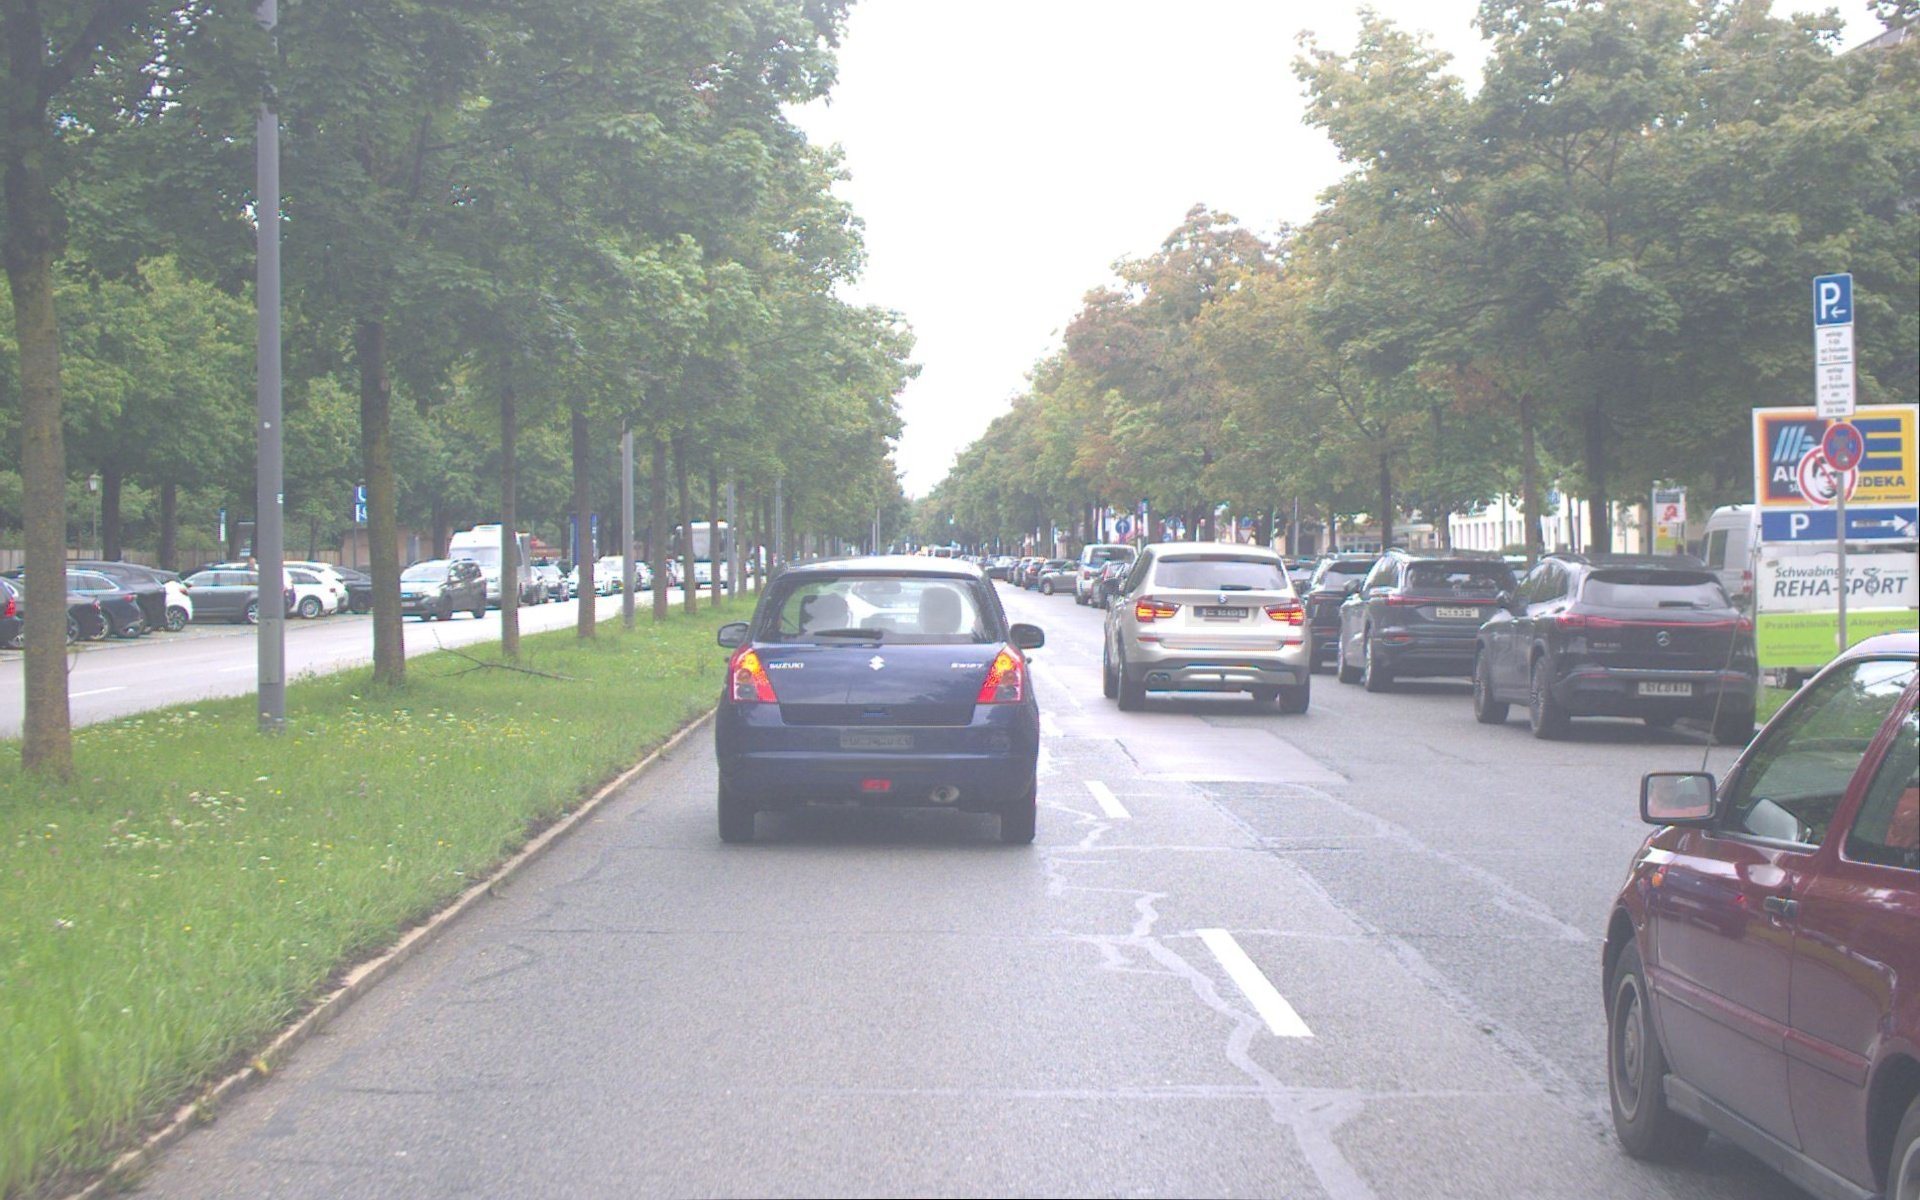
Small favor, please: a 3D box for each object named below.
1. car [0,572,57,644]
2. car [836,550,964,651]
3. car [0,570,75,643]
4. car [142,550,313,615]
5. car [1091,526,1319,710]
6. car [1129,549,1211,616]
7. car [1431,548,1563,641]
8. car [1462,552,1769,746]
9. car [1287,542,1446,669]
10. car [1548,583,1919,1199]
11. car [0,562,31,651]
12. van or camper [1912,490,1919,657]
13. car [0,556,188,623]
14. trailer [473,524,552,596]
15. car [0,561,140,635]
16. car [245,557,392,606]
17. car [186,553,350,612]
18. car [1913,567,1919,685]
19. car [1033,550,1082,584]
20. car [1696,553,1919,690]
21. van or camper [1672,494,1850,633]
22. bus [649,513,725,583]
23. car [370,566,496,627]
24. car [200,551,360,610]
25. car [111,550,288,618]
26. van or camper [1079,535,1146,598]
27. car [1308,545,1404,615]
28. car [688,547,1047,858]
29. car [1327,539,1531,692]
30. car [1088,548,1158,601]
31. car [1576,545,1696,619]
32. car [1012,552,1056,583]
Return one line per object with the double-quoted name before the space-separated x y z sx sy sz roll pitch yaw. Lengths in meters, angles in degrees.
"car" -19.278 0.166 64.380 4.189 1.318 1.919 -1 1 -34
"car" -0.947 -0.022 51.977 1.850 1.442 4.098 0 1 -2
"car" -19.738 0.135 67.495 4.185 1.405 1.919 -1 1 -34
"car" -19.803 -0.496 92.966 4.095 1.689 1.919 -1 1 -34
"car" 2.404 0.139 34.643 1.850 1.737 4.098 0 1 -2
"car" 5.012 -0.450 82.403 1.684 1.520 4.456 1 1 0
"car" 9.461 -0.122 60.822 1.684 1.580 4.009 0 1 0
"car" 5.743 0.375 30.626 1.761 1.584 4.453 0 1 -2
"car" 5.496 0.036 46.887 1.722 1.646 4.389 0 1 1
"car" 2.435 0.709 7.314 1.622 1.449 3.950 0 1 -1
"car" -19.008 0.135 61.652 4.096 1.591 1.919 -1 1 -39
"van or camper" 15.671 -0.365 49.956 1.993 2.549 5.957 0 1 0
"car" -20.355 -0.265 80.328 4.094 1.496 1.919 -1 1 -31
"trailer" -16.088 -1.450 123.771 2.106 2.532 5.577 0 1 0
"car" -19.269 -0.045 71.079 4.095 1.464 1.919 -1 1 -34
"car" -19.721 -0.562 105.744 4.094 1.469 1.705 0 0 -34
"car" -19.458 -0.501 96.676 4.095 1.579 1.919 -1 1 -34
"car" 13.193 0.342 40.204 1.683 1.449 4.840 0 1 -16
"car" 4.184 -1.449 148.377 1.850 1.442 4.098 0 1 -2
"car" 10.076 0.216 40.401 1.763 1.483 4.001 1 1 -3
"van or camper" 15.419 -0.716 66.487 2.024 2.549 5.957 0 1 0
"bus" -13.797 -2.653 174.453 2.738 3.366 12.013 -2 1 0
"car" -14.073 -0.114 92.052 1.914 1.537 4.185 0 1 13
"car" -19.709 -0.578 99.699 4.095 1.647 1.919 -1 1 -34
"car" -19.814 -0.433 89.608 4.095 1.689 1.919 -1 1 -34
"van or camper" 4.860 -1.074 110.044 1.944 1.968 4.306 0 1 0
"car" 9.370 -0.497 81.621 1.684 1.627 4.780 0 1 -1
"car" -0.534 0.480 19.210 1.789 1.550 4.000 0 1 -2
"car" 5.477 0.131 40.683 1.761 1.695 4.820 0 1 0
"car" 4.887 -0.785 103.604 1.684 1.548 4.307 0 1 -3
"car" 15.352 -0.426 78.271 1.684 1.627 4.499 0 1 -2
"car" 3.468 -1.534 162.224 1.850 1.442 4.098 0 1 -2
